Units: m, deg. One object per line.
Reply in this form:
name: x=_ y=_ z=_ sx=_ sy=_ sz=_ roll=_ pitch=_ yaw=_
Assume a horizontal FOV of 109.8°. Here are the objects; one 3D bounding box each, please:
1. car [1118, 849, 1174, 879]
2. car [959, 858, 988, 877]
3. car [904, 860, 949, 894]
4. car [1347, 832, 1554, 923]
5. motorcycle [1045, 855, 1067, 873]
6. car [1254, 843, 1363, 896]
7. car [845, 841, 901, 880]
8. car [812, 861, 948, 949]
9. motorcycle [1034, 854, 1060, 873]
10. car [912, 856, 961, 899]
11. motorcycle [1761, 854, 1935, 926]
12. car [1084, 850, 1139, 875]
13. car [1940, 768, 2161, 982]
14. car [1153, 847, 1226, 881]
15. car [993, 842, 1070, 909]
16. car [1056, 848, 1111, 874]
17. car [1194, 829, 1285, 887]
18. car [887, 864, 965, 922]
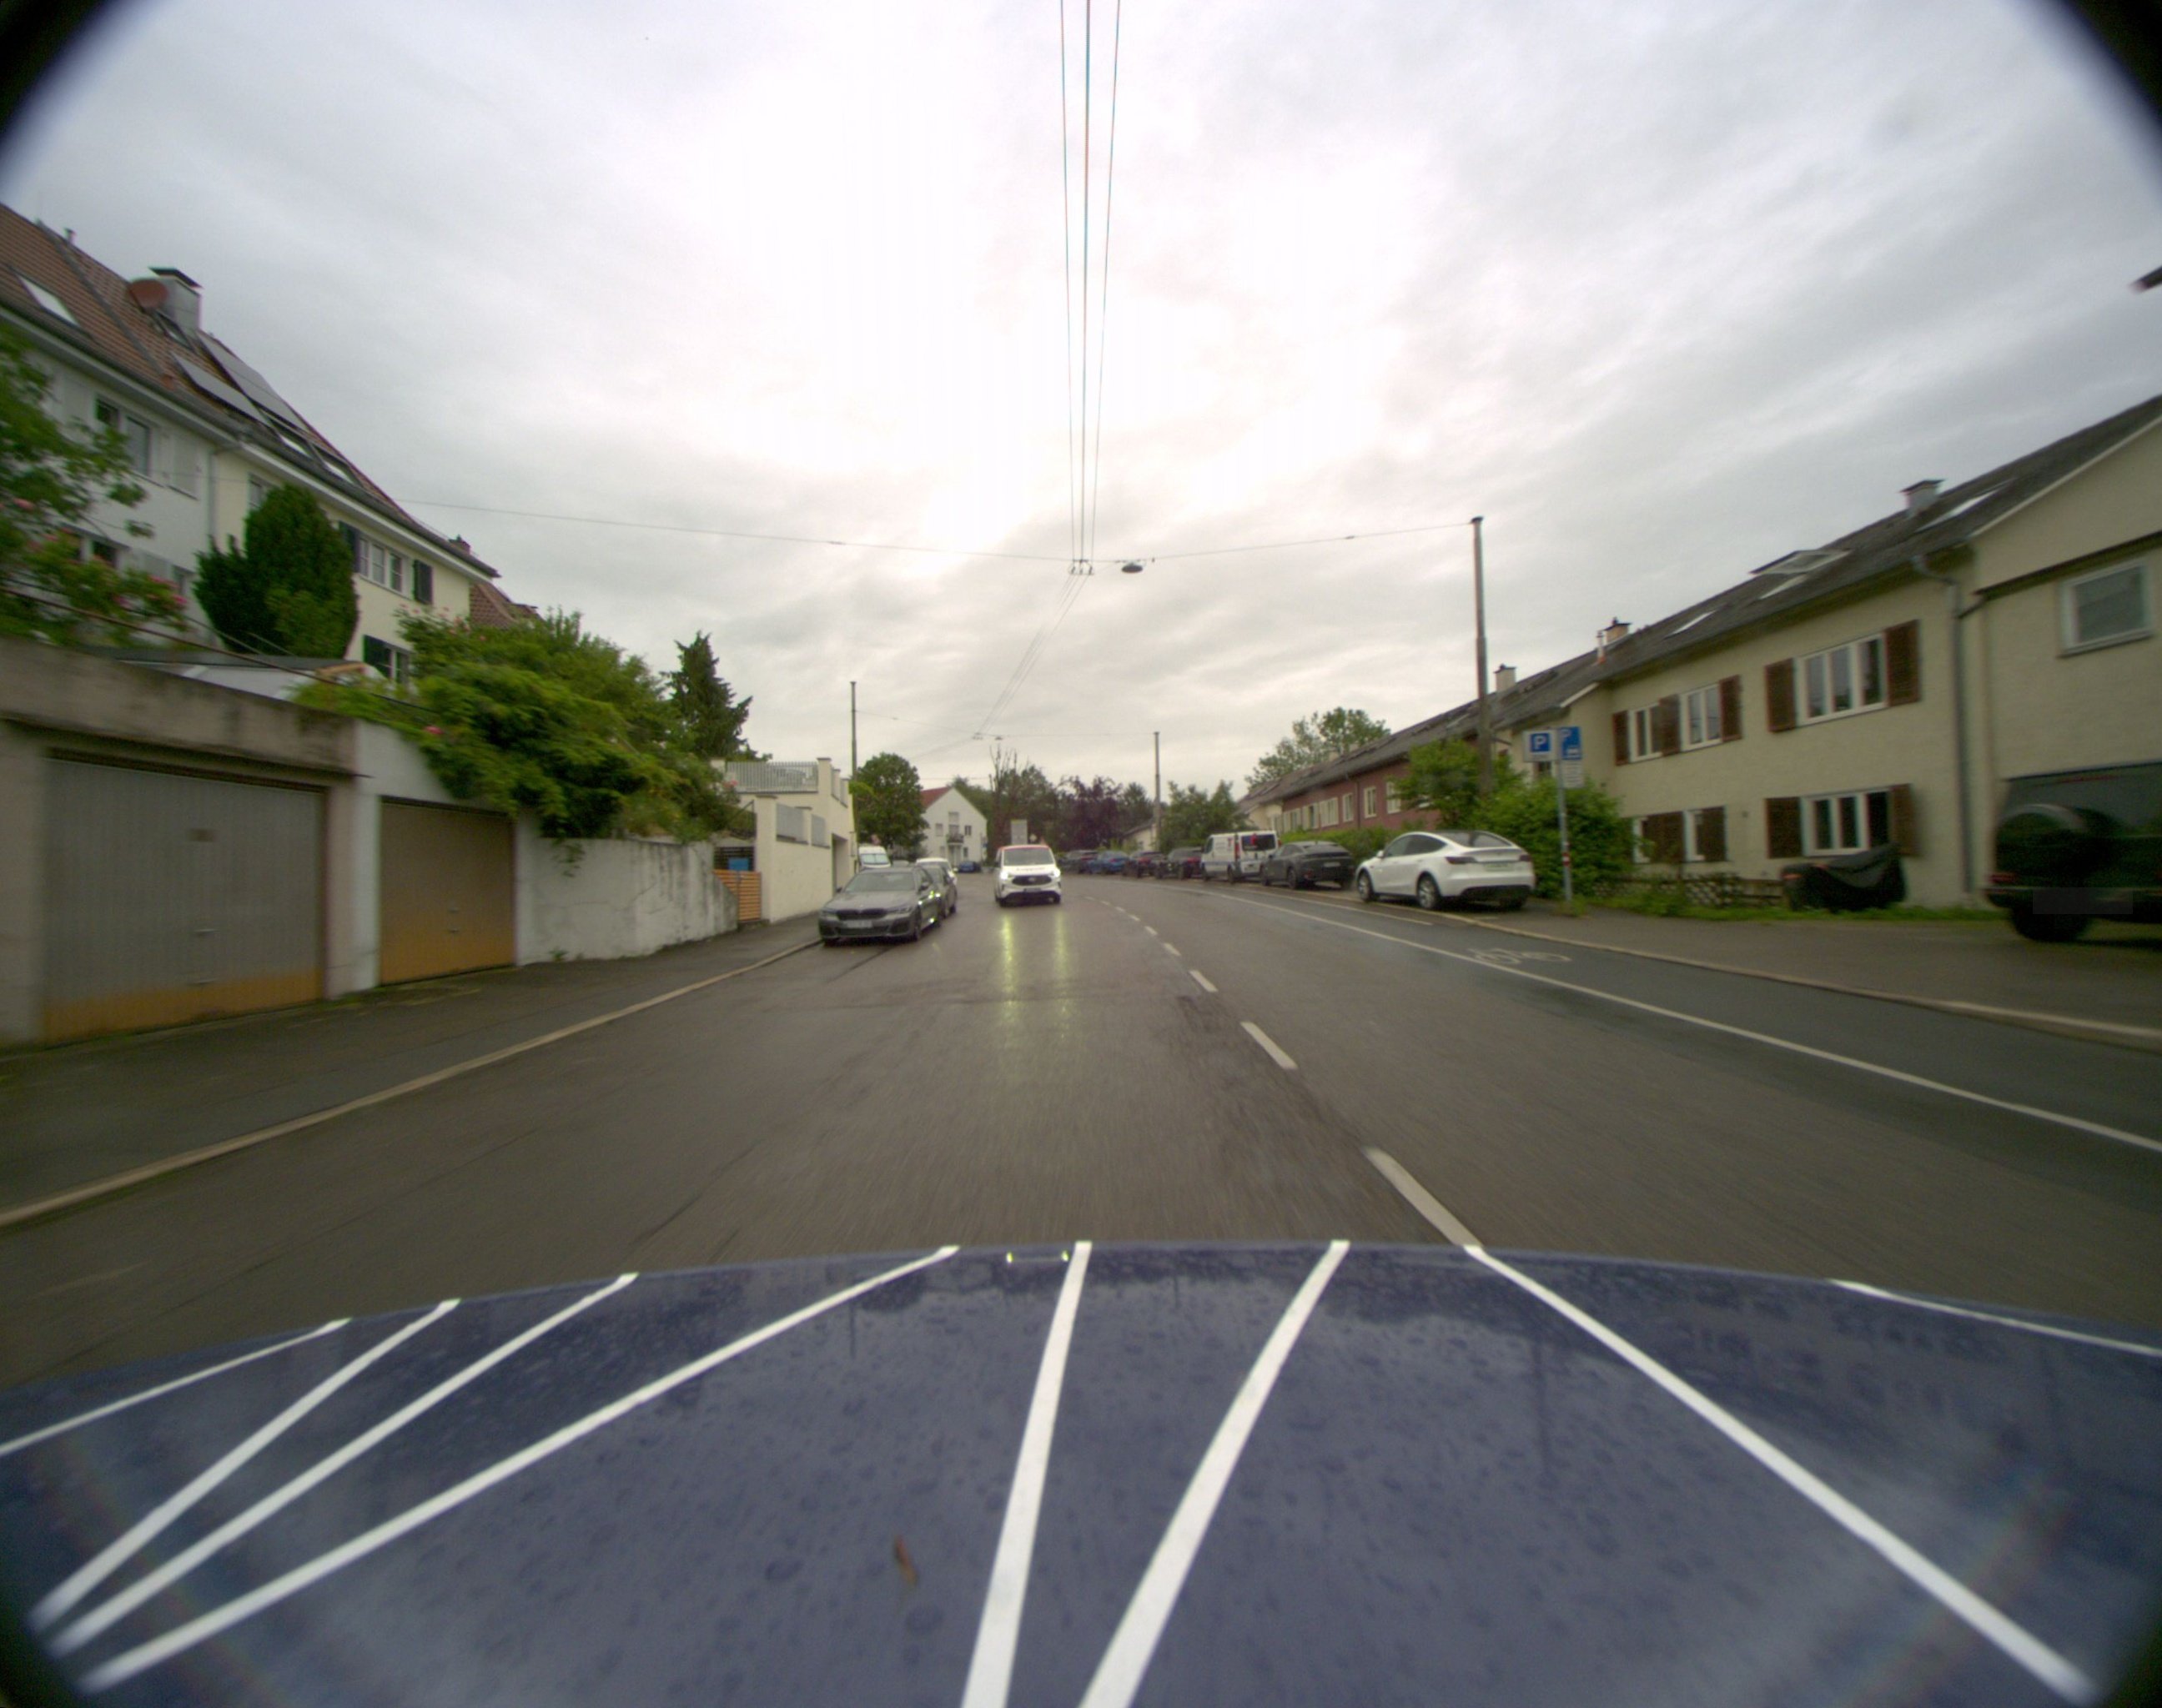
car: x=3.505 y=0.509 z=41.609 sx=1.814 sy=1.468 sz=4.517 roll=-2 pitch=1 yaw=-12
car: x=-10.390 y=1.257 z=73.691 sx=1.840 sy=1.656 sz=3.943 roll=2 pitch=1 yaw=5
car: x=-7.711 y=1.069 z=37.621 sx=1.685 sy=1.475 sz=4.194 roll=-2 pitch=1 yaw=-17
car: x=7.659 y=0.407 z=16.384 sx=1.934 sy=1.621 sz=4.675 roll=-2 pitch=1 yaw=-4
motorcycle: x=-1.820 y=0.717 z=55.533 sx=0.574 sy=1.264 sz=1.910 roll=-2 pitch=1 yaw=32
car: x=7.158 y=0.429 z=24.470 sx=1.813 sy=1.468 sz=4.520 roll=-2 pitch=1 yaw=-5
car: x=-14.196 y=0.409 z=51.530 sx=2.109 sy=2.527 sz=5.605 roll=1 pitch=0 yaw=-32
car: x=-4.122 y=0.965 z=16.393 sx=1.794 sy=1.487 sz=4.704 roll=-2 pitch=1 yaw=-2
motorcycle: x=-2.523 y=0.727 z=56.733 sx=1.806 sy=1.296 sz=0.613 roll=-3 pitch=1 yaw=1
car: x=-6.179 y=0.922 z=32.116 sx=1.810 sy=1.639 sz=4.205 roll=-2 pitch=0 yaw=-13
motorcycle: x=13.296 y=0.605 z=13.222 sx=2.098 sy=1.128 sz=0.839 roll=-2 pitch=3 yaw=3
car: x=1.837 y=0.518 z=46.825 sx=1.706 sy=1.396 sz=4.465 roll=-3 pitch=0 yaw=-21
car: x=12.319 y=0.166 z=8.021 sx=4.501 sy=2.001 sz=1.887 roll=-1 pitch=-1 yaw=-3
car: x=5.028 y=0.434 z=35.906 sx=1.815 sy=1.468 sz=4.516 roll=-2 pitch=1 yaw=-14
car: x=-1.798 y=0.677 z=25.817 sx=2.043 sy=1.928 sz=4.511 roll=-5 pitch=1 yaw=-9
car: x=0.109 y=0.487 z=51.357 sx=1.930 sy=1.568 sz=4.378 roll=-3 pitch=1 yaw=-26
car: x=6.253 y=0.126 z=30.640 sx=1.854 sy=2.067 sz=5.016 roll=-2 pitch=1 yaw=-9
car: x=-4.369 y=1.056 z=21.964 sx=1.646 sy=1.428 sz=4.172 roll=-2 pitch=0 yaw=-4
